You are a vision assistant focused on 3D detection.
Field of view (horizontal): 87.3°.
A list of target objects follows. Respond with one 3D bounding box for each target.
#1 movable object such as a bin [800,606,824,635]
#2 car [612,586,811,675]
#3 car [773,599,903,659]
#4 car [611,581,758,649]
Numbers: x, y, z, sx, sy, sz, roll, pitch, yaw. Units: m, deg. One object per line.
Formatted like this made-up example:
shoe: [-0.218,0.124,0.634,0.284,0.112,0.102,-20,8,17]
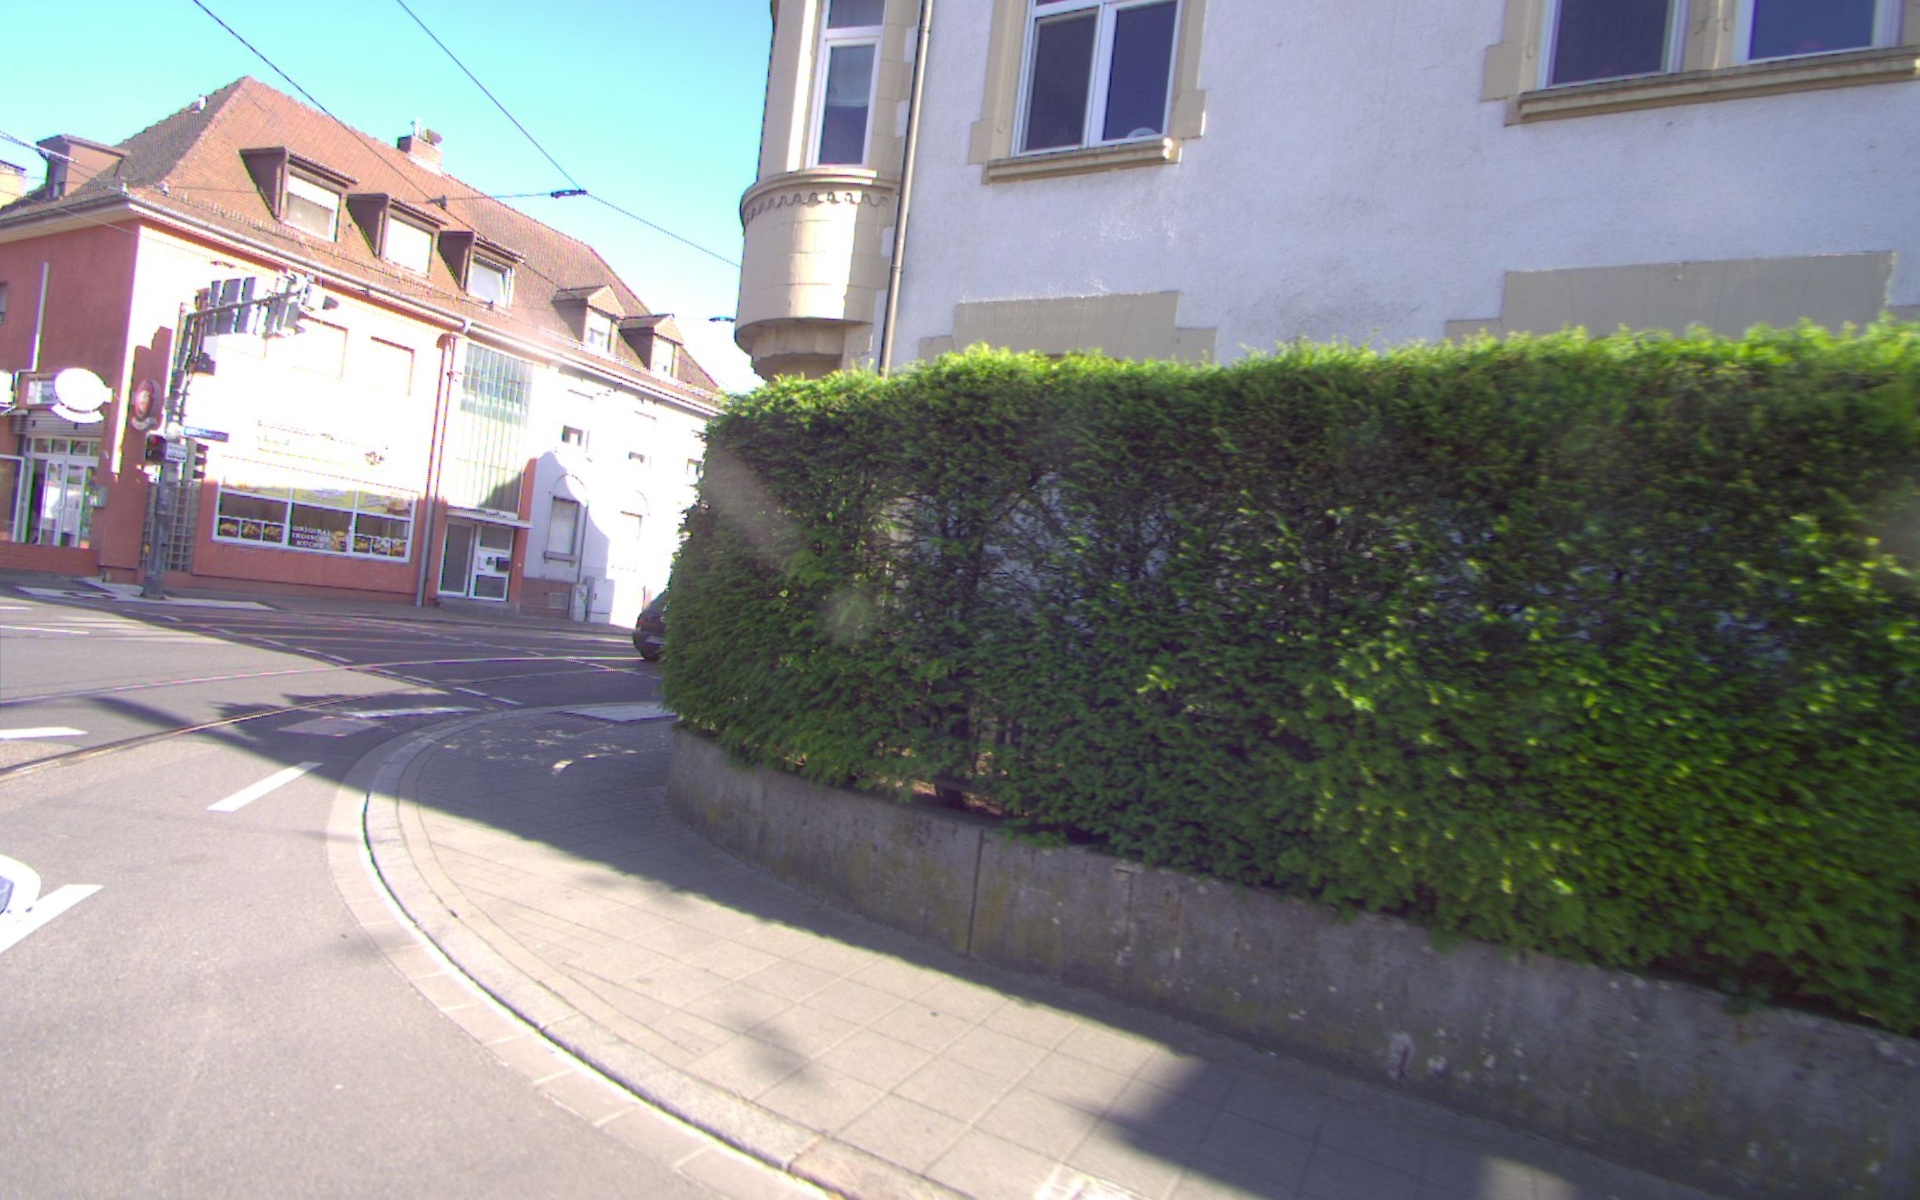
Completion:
movable object such as a bin: [-6.609,0.916,44.823,0.633,1.125,0.671,10,1,29]
car: [-4.733,0.662,19.780,1.690,1.419,4.006,6,-1,22]
car: [-4.092,1.033,34.510,1.716,1.630,4.704,5,-2,33]
car: [-7.778,0.460,28.745,1.661,1.586,3.922,4,-2,31]
